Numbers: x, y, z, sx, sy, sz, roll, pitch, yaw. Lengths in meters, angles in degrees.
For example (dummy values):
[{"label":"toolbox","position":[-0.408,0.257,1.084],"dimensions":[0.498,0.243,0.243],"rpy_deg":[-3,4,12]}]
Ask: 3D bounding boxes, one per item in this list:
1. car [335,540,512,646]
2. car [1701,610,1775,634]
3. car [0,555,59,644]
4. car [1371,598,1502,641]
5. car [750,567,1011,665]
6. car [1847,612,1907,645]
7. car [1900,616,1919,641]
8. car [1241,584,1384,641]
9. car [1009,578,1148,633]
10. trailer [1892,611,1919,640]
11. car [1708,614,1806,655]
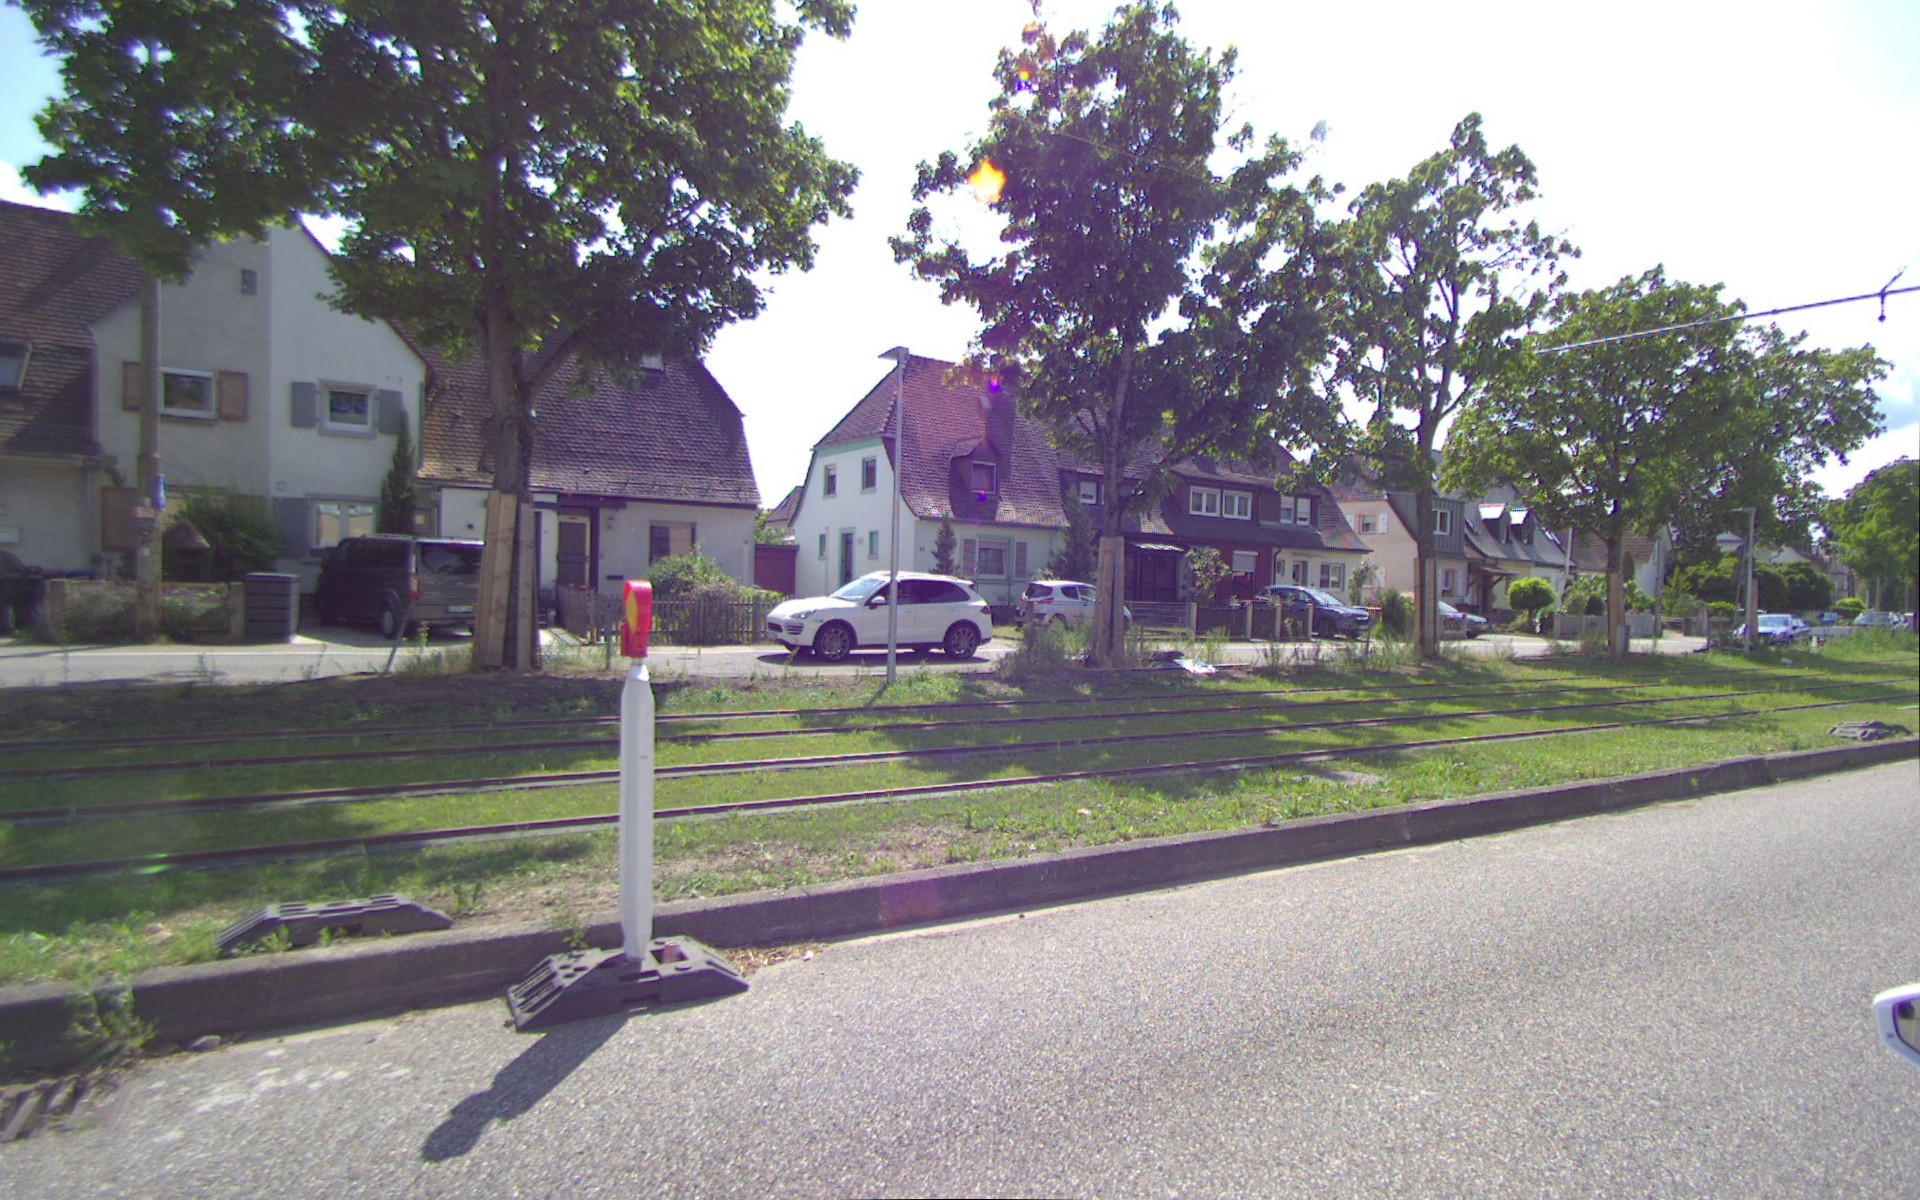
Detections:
[{"label":"car","position":[-11.207,-0.194,20.898],"dimensions":[3.837,1.922,1.934],"rpy_deg":[4,2,40]},{"label":"car","position":[55.094,1.547,71.157],"dimensions":[1.782,1.592,3.948],"rpy_deg":[1,1,-44]},{"label":"car","position":[-17.478,-0.065,17.639],"dimensions":[1.715,1.476,3.864],"rpy_deg":[1,1,-31]},{"label":"car","position":[19.424,0.754,41.120],"dimensions":[1.907,1.544,4.438],"rpy_deg":[1,1,-36]},{"label":"car","position":[-1.557,0.332,20.547],"dimensions":[5.026,1.792,1.871],"rpy_deg":[1,1,-32]},{"label":"car","position":[46.813,1.434,51.257],"dimensions":[4.532,1.608,1.795],"rpy_deg":[1,-1,-41]},{"label":"car","position":[62.583,1.841,65.316],"dimensions":[4.532,1.525,1.713],"rpy_deg":[1,-1,-41]},{"label":"car","position":[12.521,0.413,35.919],"dimensions":[2.046,1.861,4.438],"rpy_deg":[1,1,-36]},{"label":"car","position":[3.581,0.168,30.095],"dimensions":[4.005,1.538,1.716],"rpy_deg":[1,1,-36]},{"label":"trailer","position":[58.101,1.560,61.244],"dimensions":[3.347,1.700,1.551],"rpy_deg":[1,1,-42]},{"label":"car","position":[30.733,1.294,38.691],"dimensions":[4.769,1.425,1.806],"rpy_deg":[1,1,-37]}]
